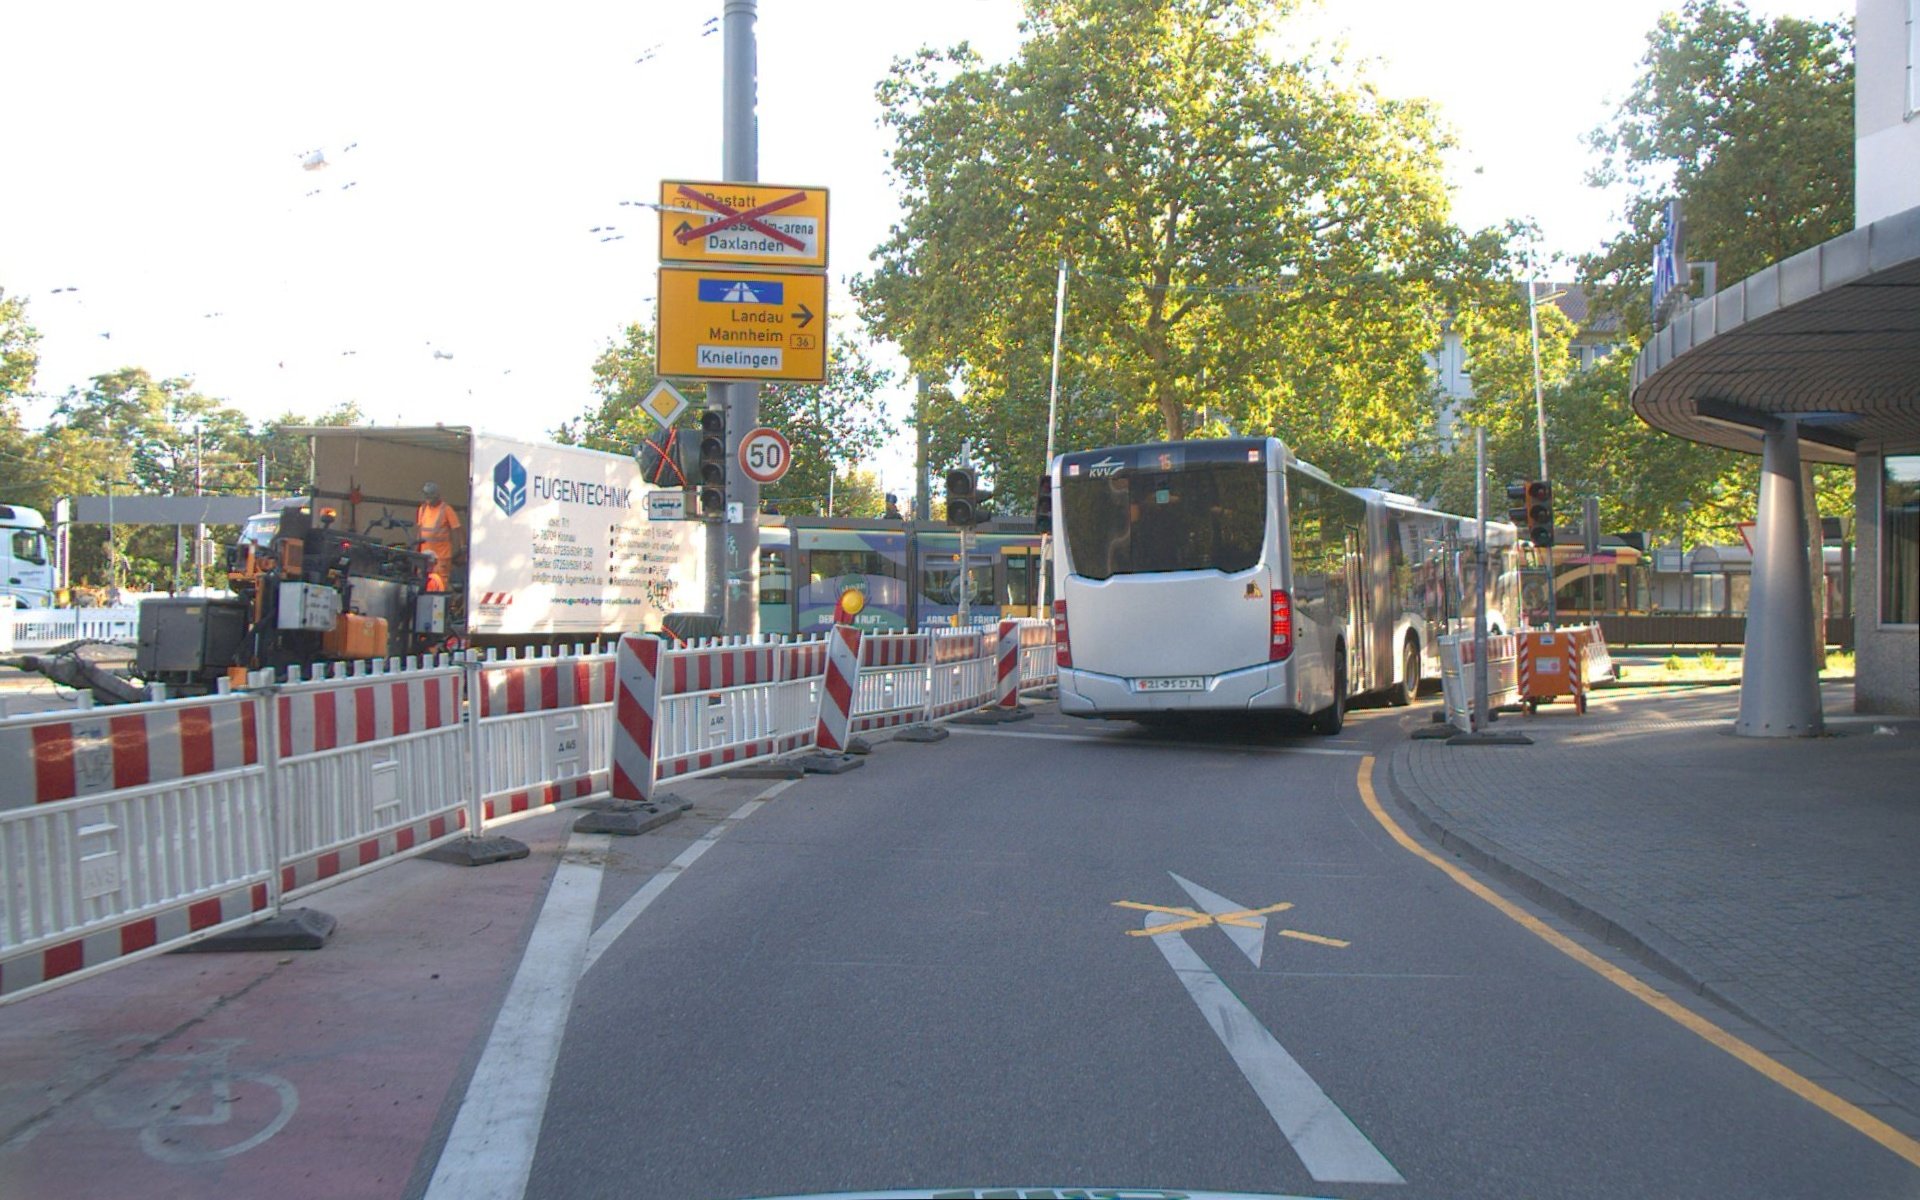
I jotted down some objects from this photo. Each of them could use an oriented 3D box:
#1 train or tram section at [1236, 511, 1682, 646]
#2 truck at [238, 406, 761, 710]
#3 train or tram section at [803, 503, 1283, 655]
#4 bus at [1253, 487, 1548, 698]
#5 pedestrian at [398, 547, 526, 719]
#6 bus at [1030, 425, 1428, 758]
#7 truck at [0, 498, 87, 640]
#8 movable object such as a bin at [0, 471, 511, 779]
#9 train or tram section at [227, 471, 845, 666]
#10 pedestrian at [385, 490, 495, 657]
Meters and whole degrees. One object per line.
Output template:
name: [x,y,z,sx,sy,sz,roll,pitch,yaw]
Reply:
train or tram section: [14.412,-0.517,47.428,13.079,3.581,2.636,1,0,-18]
truck: [-6.162,-0.532,24.268,2.753,3.603,8.986,1,0,19]
train or tram section: [2.327,-0.445,42.994,12.565,3.611,2.719,1,-1,-23]
bus: [8.070,-0.155,29.276,2.659,3.161,8.959,0,1,31]
pedestrian: [-5.463,0.346,18.201,0.952,1.829,1.071,1,0,9]
bus: [3.994,-0.137,21.300,2.678,3.193,10.701,0,1,23]
truck: [-28.759,-0.862,43.304,2.840,3.856,10.402,0,0,33]
movable object such as a bin: [-6.481,0.148,15.162,1.952,2.296,5.210,2,1,19]
train or tram section: [-8.599,-0.530,36.019,13.279,3.595,2.816,1,-1,-42]
pedestrian: [-6.571,-0.348,20.924,0.916,2.048,1.002,1,1,17]
